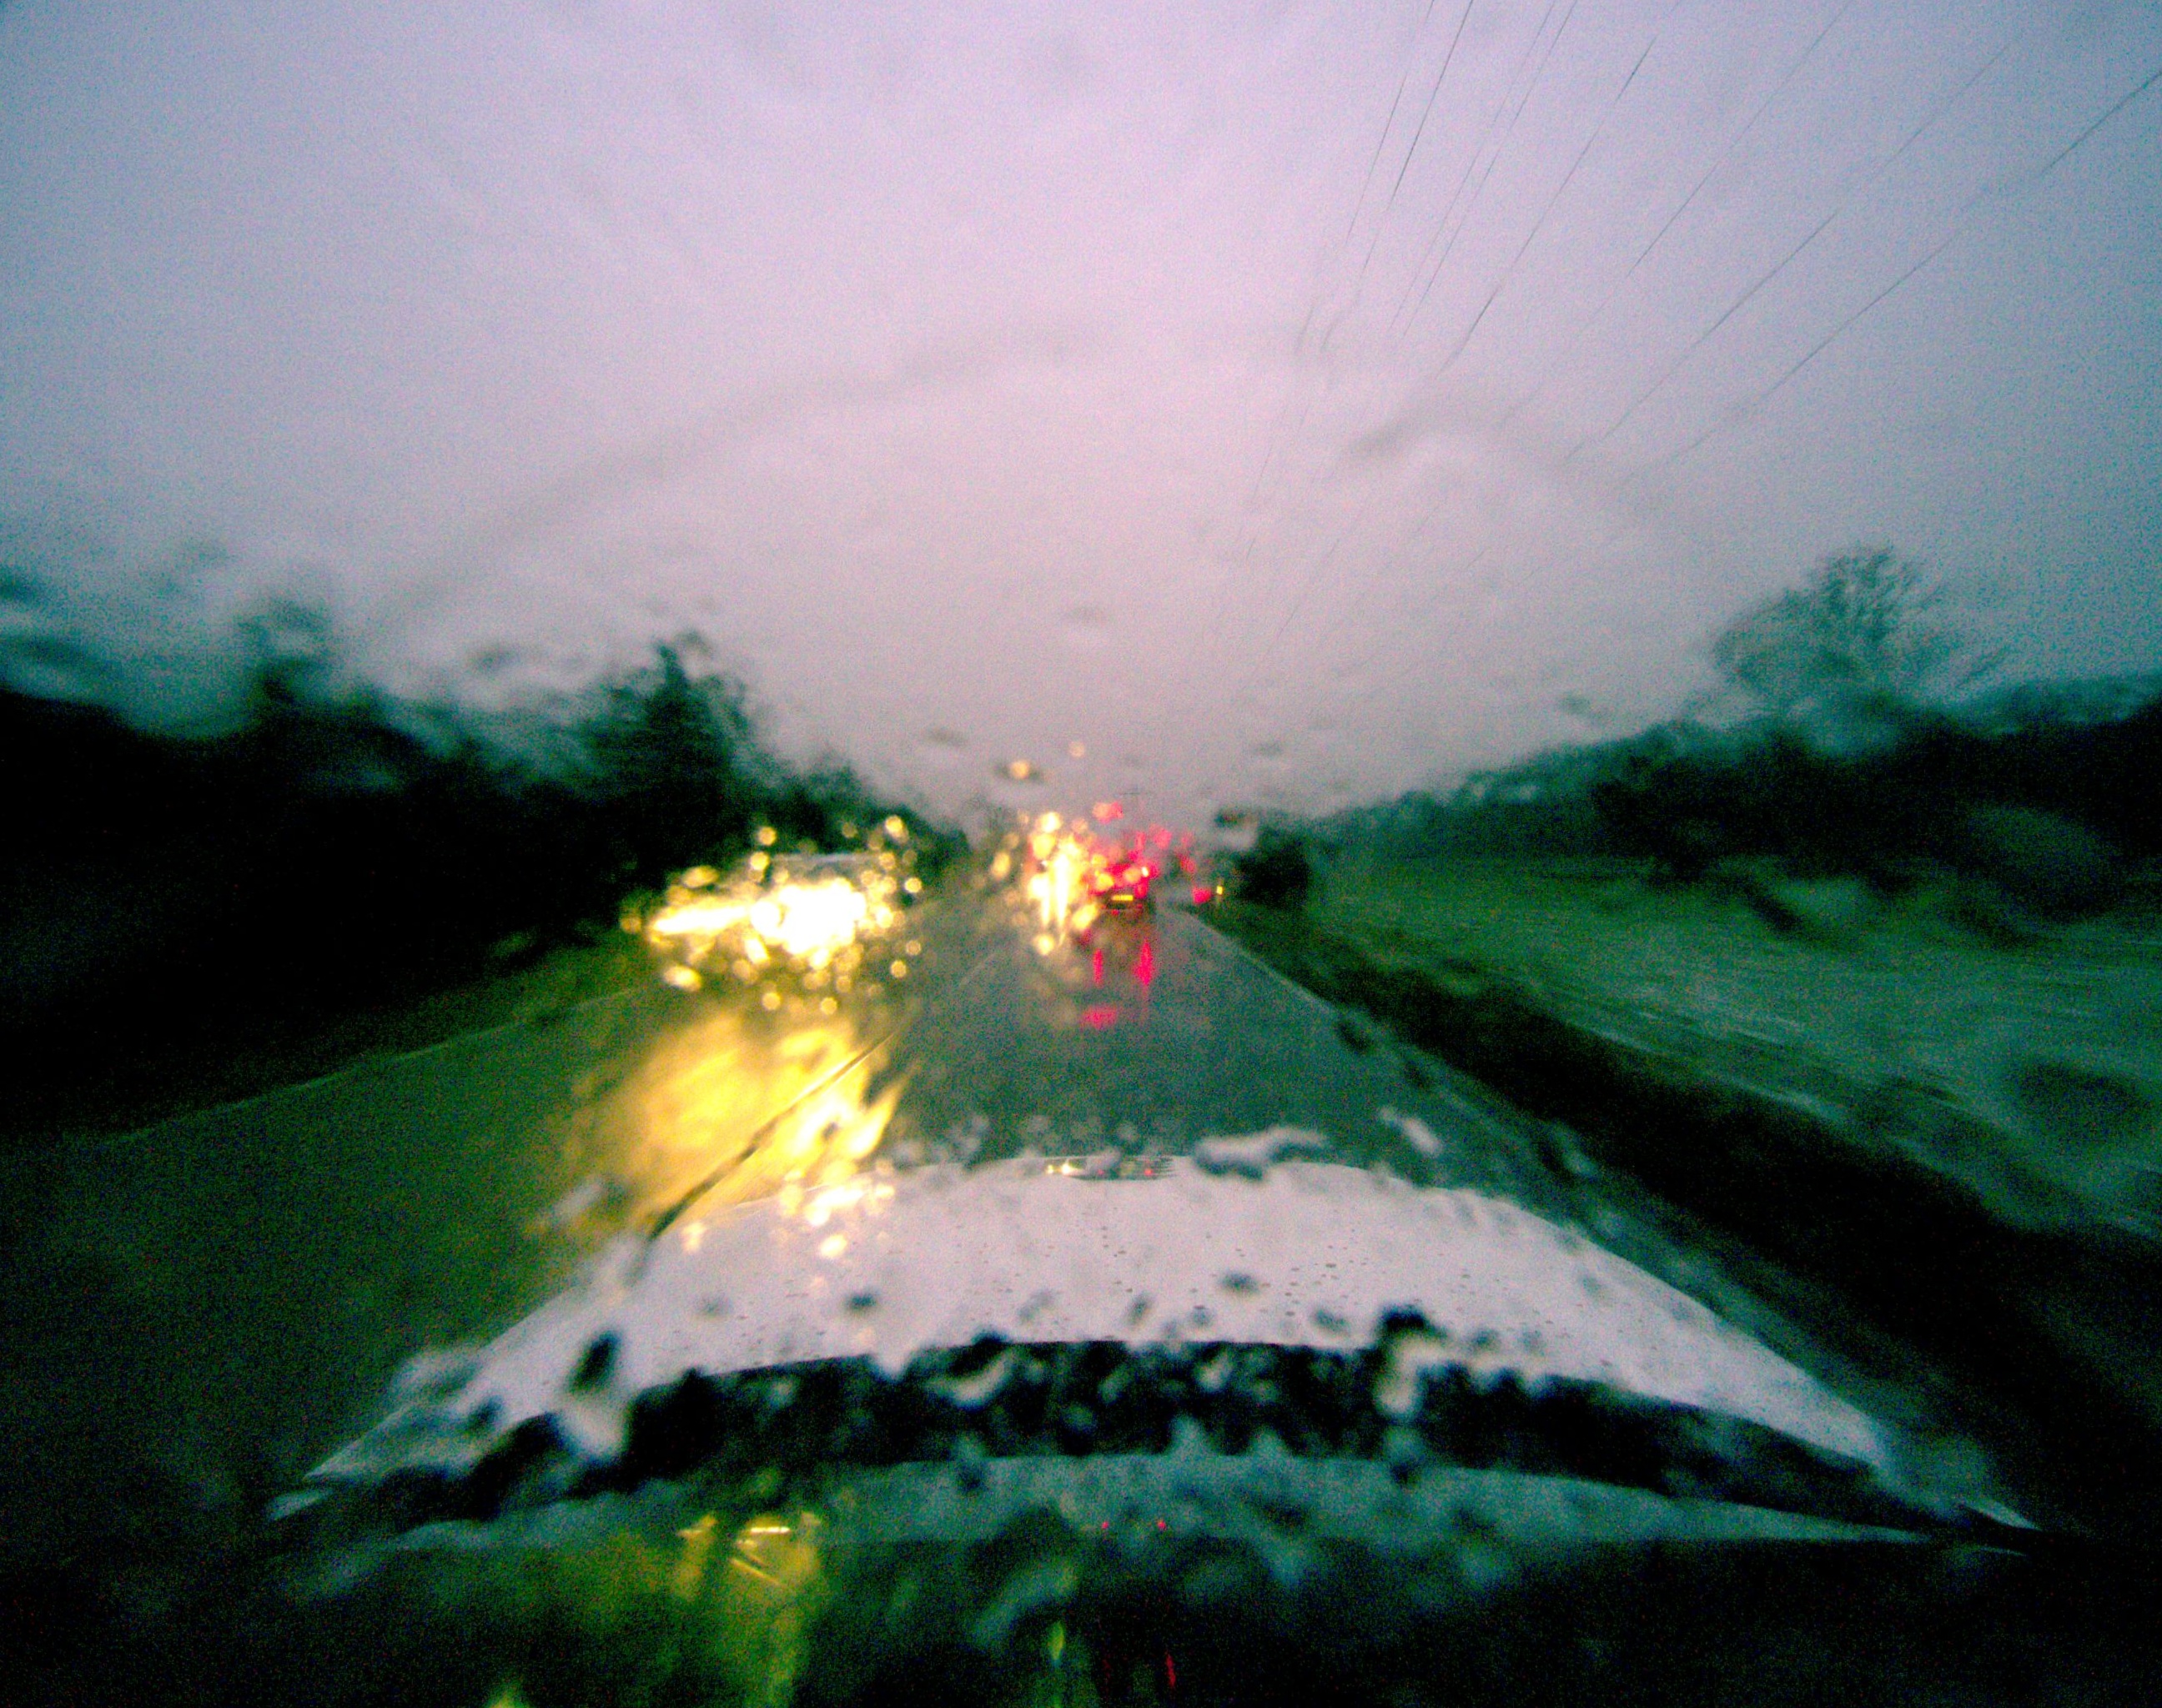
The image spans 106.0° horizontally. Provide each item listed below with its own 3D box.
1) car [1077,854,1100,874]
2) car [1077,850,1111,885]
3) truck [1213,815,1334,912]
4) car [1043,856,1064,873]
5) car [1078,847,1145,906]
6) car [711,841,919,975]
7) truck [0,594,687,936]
[{"bbox_3d":[0.637,0.814,69.344,1.764,1.591,4.161,-1,0,-2],"label":"car"},{"bbox_3d":[0.752,0.779,49.118,1.847,2.014,3.997,-1,0,-2],"label":"car"},{"bbox_3d":[6.606,0.303,29.216,2.525,2.978,7.857,-1,0,0],"label":"truck"},{"bbox_3d":[-2.717,1.046,80.858,1.763,1.591,4.165,-1,0,1],"label":"car"},{"bbox_3d":[0.735,0.548,21.193,1.496,1.398,3.197,-1,0,-2],"label":"car"},{"bbox_3d":[-3.670,0.658,12.023,1.666,1.630,3.977,-1,0,1],"label":"car"},{"bbox_3d":[-27.765,-1.915,28.059,7.514,7.713,40.166,-1,0,2],"label":"truck"}]
